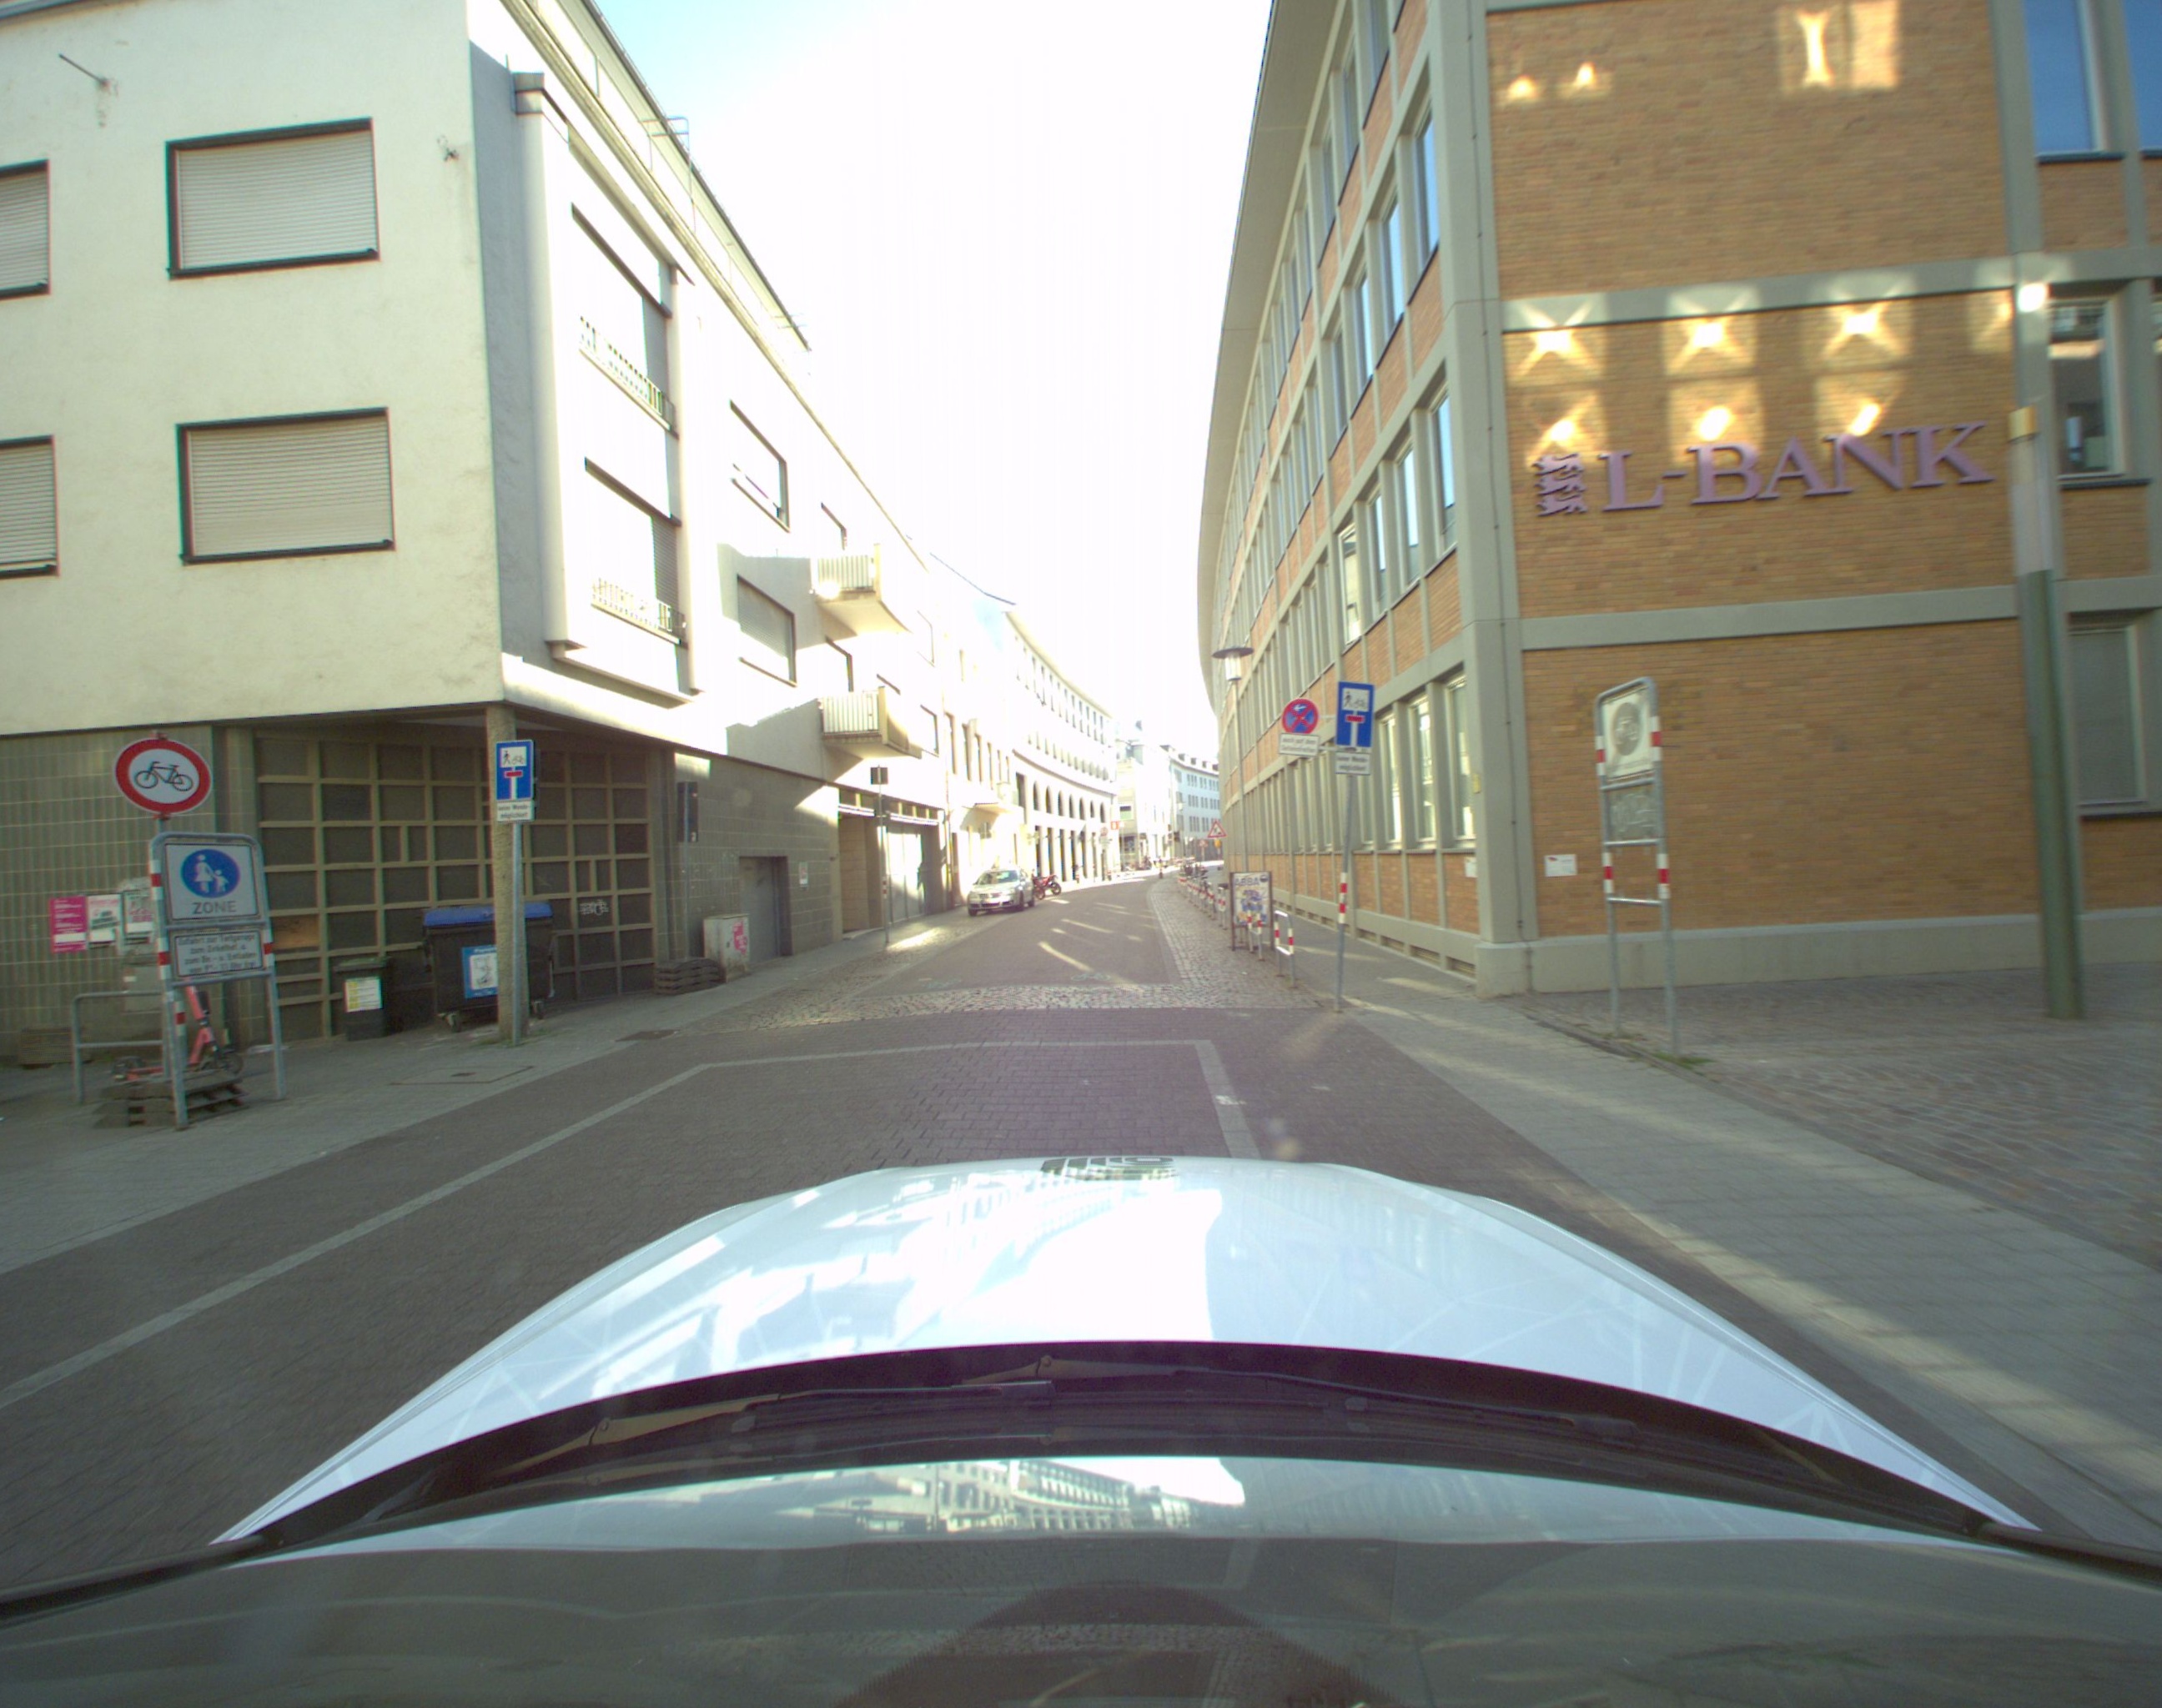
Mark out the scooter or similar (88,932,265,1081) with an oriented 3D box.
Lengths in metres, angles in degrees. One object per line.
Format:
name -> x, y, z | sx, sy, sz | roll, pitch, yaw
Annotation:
scooter or similar -> -8.462, 1.417, 7.631 | 1.231, 1.252, 0.308 | -4, -1, -1

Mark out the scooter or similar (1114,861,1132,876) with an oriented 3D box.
scooter or similar -> 3.749, 1.303, 72.667 | 0.534, 1.197, 1.939 | -4, -2, -28

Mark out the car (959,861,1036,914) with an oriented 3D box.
car -> -2.699, 1.053, 27.220 | 1.757, 1.470, 3.818 | -5, 0, 4

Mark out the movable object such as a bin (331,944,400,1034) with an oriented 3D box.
movable object such as a bin -> -8.355, 1.561, 9.514 | 0.545, 0.923, 0.507 | -4, 0, -44

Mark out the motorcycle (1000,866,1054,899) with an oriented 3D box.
motorcycle -> -2.303, 1.215, 34.629 | 2.186, 1.245, 0.577 | -5, -1, 24

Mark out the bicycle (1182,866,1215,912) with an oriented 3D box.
bicycle -> 3.138, 0.904, 21.834 | 0.633, 1.116, 1.932 | -4, -1, 3

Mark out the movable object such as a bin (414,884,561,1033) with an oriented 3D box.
movable object such as a bin -> -7.328, 1.211, 10.059 | 1.298, 1.589, 1.141 | -3, 0, -42

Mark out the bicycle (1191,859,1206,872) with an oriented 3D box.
bicycle -> 10.021, 0.955, 69.361 | 0.922, 0.960, 3.378 | -4, 0, 12

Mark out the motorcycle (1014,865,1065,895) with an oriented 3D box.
motorcycle -> -1.973, 1.220, 38.464 | 2.262, 1.245, 0.577 | -5, -1, 24

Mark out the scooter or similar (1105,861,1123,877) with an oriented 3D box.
scooter or similar -> 2.731, 1.243, 68.093 | 0.534, 1.197, 1.939 | -4, -2, -28

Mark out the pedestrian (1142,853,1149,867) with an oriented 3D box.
pedestrian -> 6.915, 0.648, 87.706 | 0.654, 1.528, 0.483 | -4, 0, 5

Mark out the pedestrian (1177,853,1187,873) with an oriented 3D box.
pedestrian -> 7.465, 0.673, 60.060 | 0.654, 1.441, 0.596 | -4, -1, 6

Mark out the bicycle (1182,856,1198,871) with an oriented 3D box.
bicycle -> 8.513, 0.694, 63.380 | 0.922, 1.047, 3.378 | -4, 0, 12
